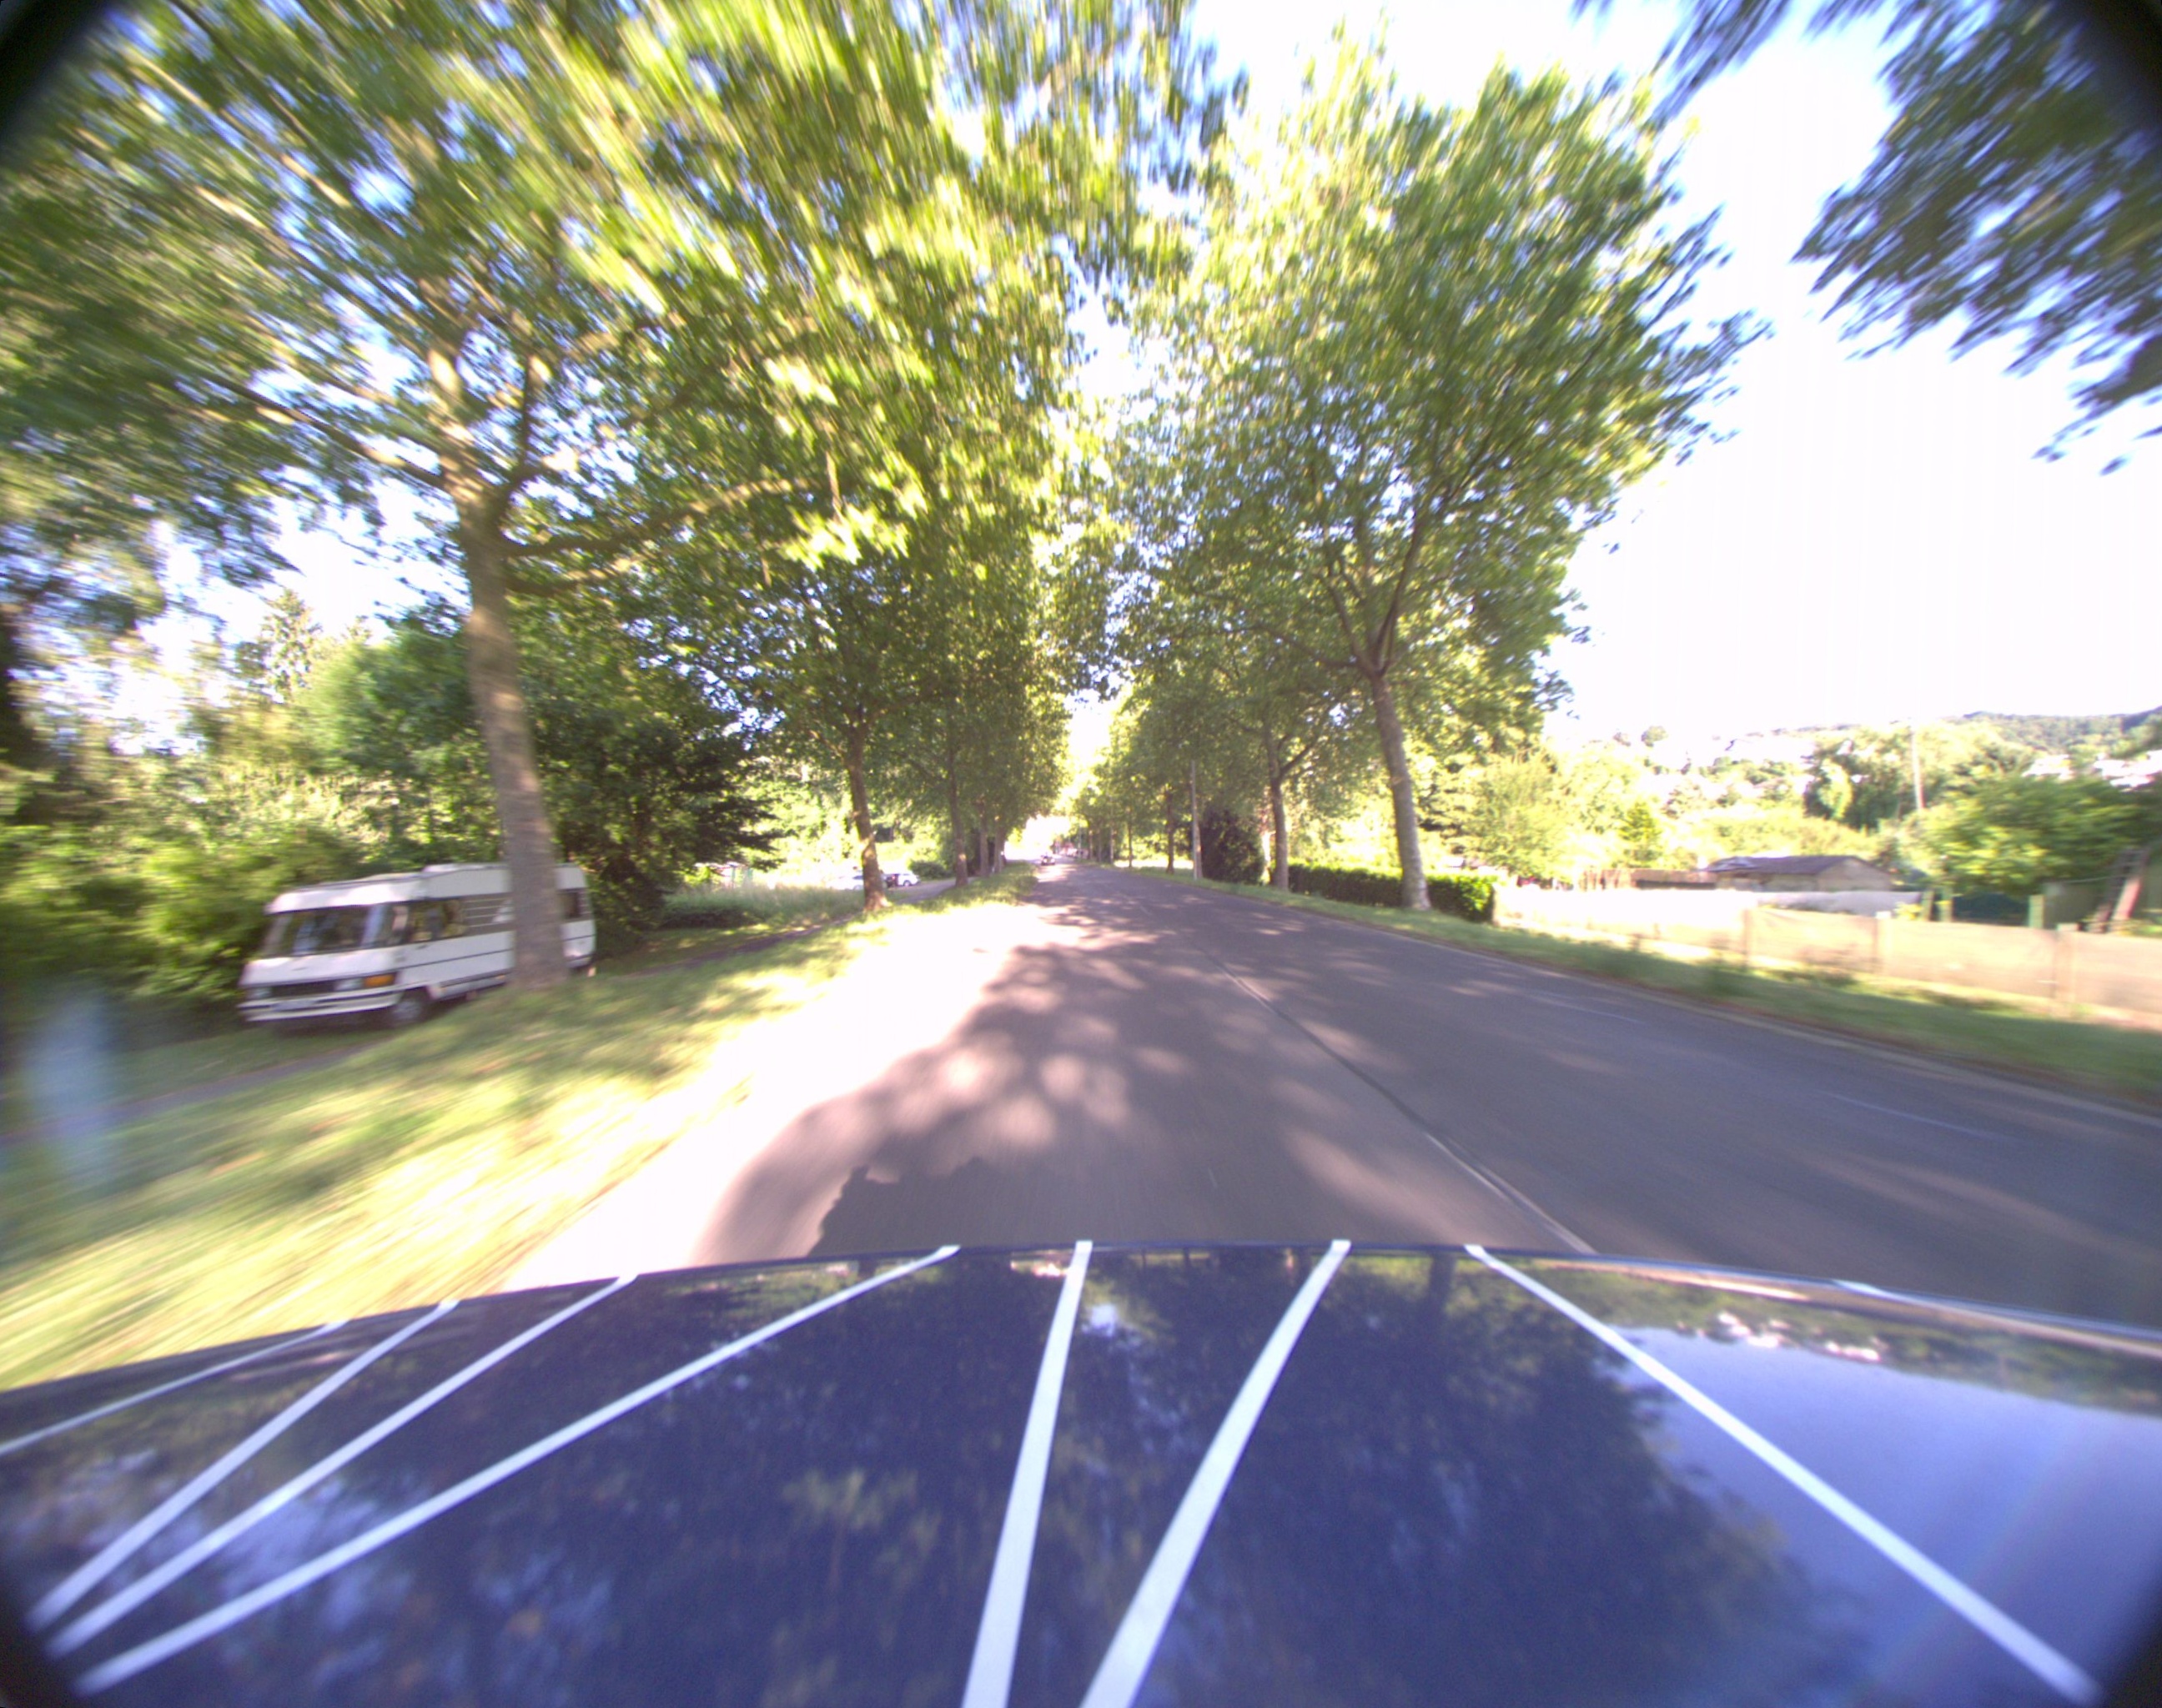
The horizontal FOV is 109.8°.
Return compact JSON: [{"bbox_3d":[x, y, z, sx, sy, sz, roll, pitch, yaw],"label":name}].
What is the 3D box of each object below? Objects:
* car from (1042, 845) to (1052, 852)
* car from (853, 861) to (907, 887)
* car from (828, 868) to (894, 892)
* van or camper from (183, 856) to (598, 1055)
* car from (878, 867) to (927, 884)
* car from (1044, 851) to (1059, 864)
[{"bbox_3d":[-7.418,-1.216,166.633,1.869,1.421,4.000,-2,0,1],"label":"car"},{"bbox_3d":[-17.395,1.722,65.794,3.995,2.002,2.001,-2,1,6],"label":"car"},{"bbox_3d":[-17.323,2.048,59.852,4.510,1.660,2.001,-2,1,6],"label":"car"},{"bbox_3d":[-12.066,1.524,14.147,2.386,2.784,5.684,-2,1,0],"label":"van or camper"},{"bbox_3d":[-16.868,2.041,71.916,3.995,1.378,2.001,-2,1,6],"label":"car"},{"bbox_3d":[-4.143,0.477,107.351,1.999,1.655,3.998,-2,1,-3],"label":"car"}]
